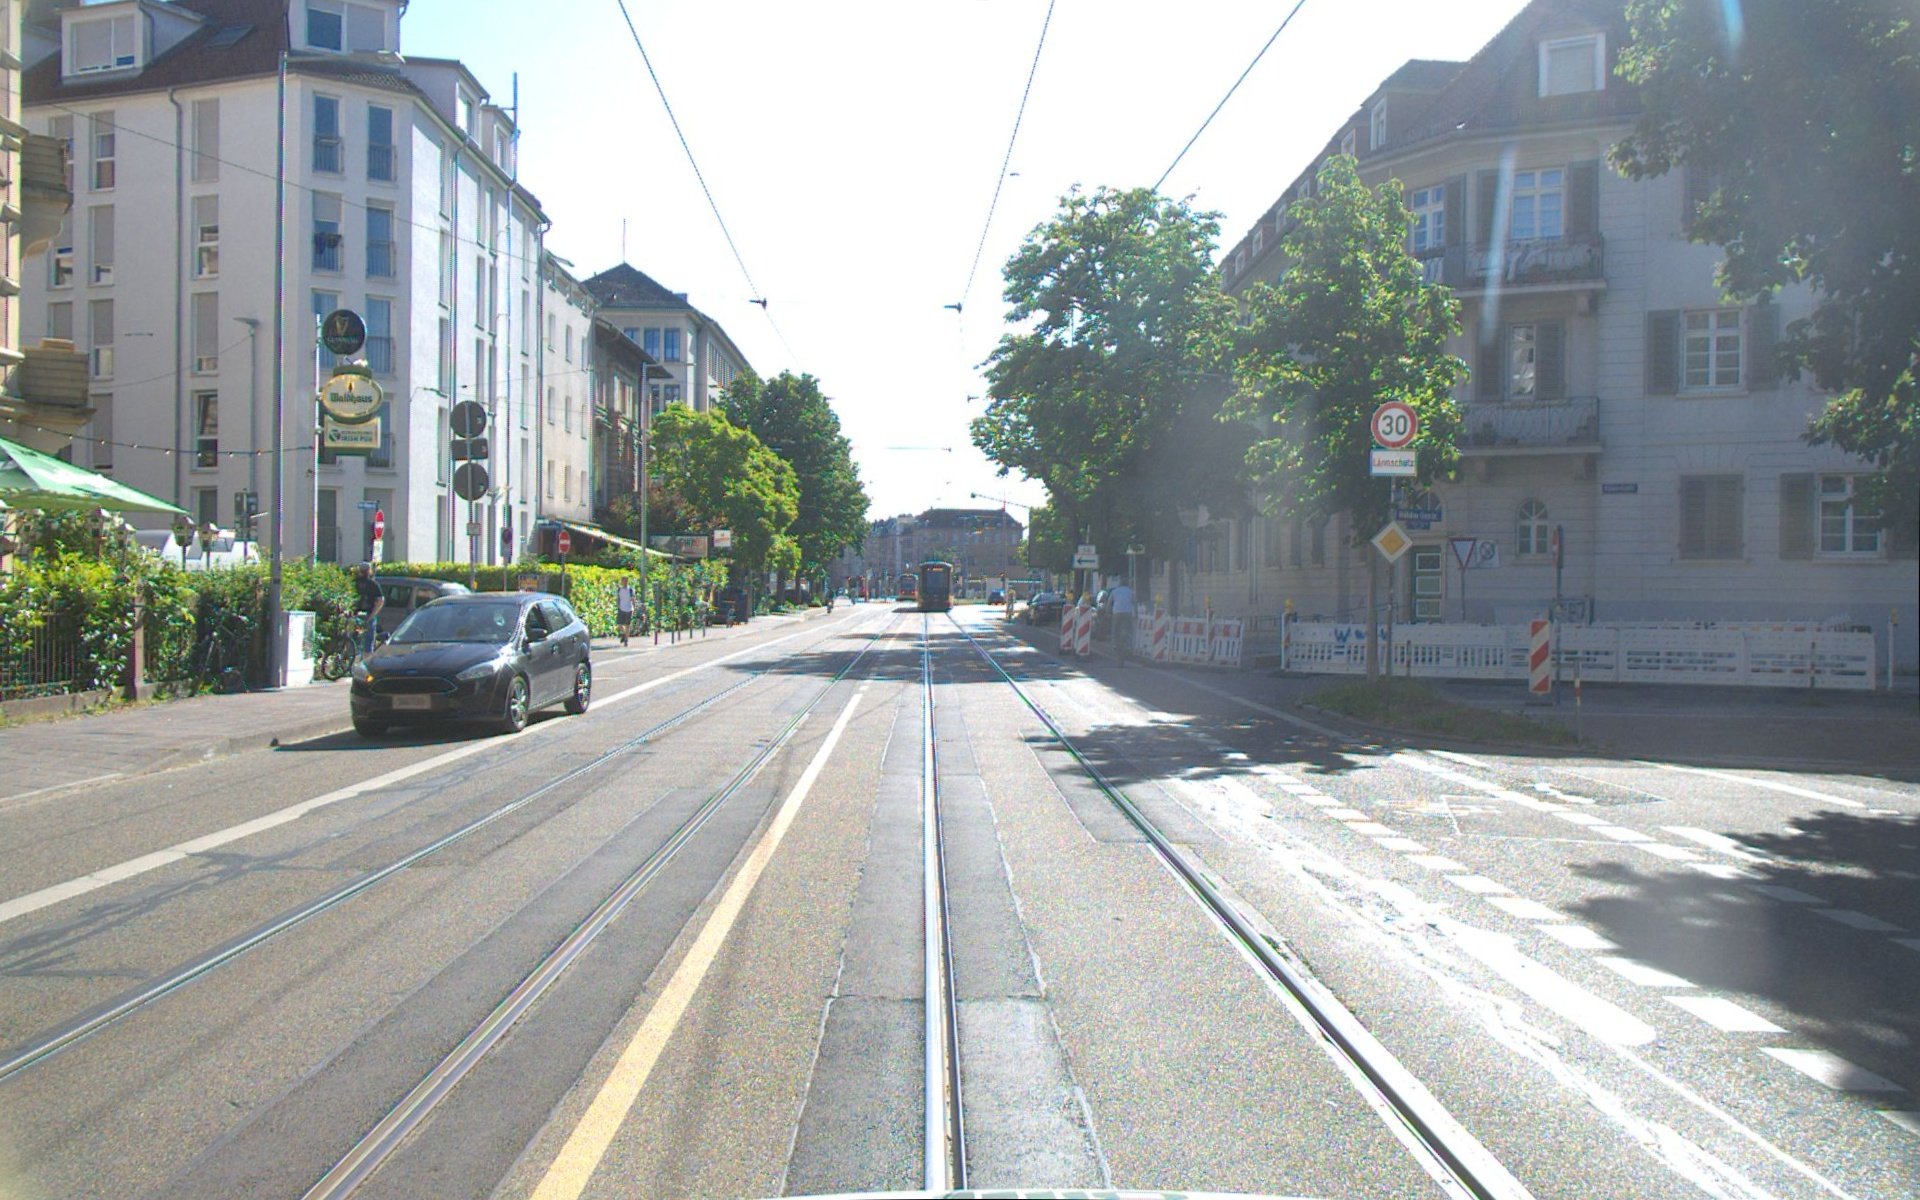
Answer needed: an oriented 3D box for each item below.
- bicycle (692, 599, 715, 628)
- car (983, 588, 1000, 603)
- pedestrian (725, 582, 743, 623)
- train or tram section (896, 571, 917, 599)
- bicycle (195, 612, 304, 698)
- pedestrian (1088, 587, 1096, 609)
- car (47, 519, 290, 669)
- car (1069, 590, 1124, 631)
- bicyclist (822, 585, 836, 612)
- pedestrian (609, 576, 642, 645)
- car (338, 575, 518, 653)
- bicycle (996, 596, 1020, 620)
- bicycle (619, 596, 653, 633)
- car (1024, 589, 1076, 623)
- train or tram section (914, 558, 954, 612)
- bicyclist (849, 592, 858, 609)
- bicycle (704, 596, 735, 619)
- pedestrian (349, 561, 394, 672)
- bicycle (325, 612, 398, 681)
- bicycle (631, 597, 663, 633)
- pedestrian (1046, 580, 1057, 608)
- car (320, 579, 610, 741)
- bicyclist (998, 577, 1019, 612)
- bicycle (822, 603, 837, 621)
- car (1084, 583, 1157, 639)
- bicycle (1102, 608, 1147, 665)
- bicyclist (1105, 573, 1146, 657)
[{"bbox_3d":[-10.209,0.524,65.903,0.625,1.077,1.743,3,0,0],"label":"bicycle"},{"bbox_3d":[3.400,-0.494,177.914,1.751,1.632,3.714,2,1,3],"label":"car"},{"bbox_3d":[-10.444,0.112,76.504,0.563,1.863,0.690,0,0,18],"label":"pedestrian"},{"bbox_3d":[-7.174,-2.039,222.374,2.687,3.715,13.781,0,1,-2],"label":"train or tram section"},{"bbox_3d":[-9.379,0.703,21.919,0.503,1.056,2.222,0,0,-1],"label":"bicycle"},{"bbox_3d":[8.586,-0.153,107.849,0.507,1.429,0.765,0,0,2],"label":"pedestrian"},{"bbox_3d":[-16.334,-0.073,34.442,1.846,2.891,4.786,0,-1,15],"label":"car"},{"bbox_3d":[4.959,0.364,60.505,1.688,1.406,4.356,-1,0,0],"label":"car"},{"bbox_3d":[-8.353,-0.089,105.140,0.730,1.627,1.118,-3,0,0],"label":"bicyclist"},{"bbox_3d":[-8.801,0.279,43.530,0.677,1.799,0.866,0,0,-1],"label":"pedestrian"},{"bbox_3d":[-13.106,0.356,40.797,3.957,1.839,1.792,0,-1,20],"label":"car"},{"bbox_3d":[2.370,0.401,82.002,0.690,1.124,1.718,2,1,18],"label":"bicycle"},{"bbox_3d":[-10.084,0.447,51.526,0.648,1.108,1.840,3,-1,-1],"label":"bicycle"},{"bbox_3d":[4.151,0.271,77.051,1.786,1.484,4.814,-1,0,-5],"label":"car"},{"bbox_3d":[-2.015,-1.127,121.883,2.687,3.715,13.781,0,1,-2],"label":"train or tram section"},{"bbox_3d":[-10.665,0.015,165.786,0.672,1.673,1.238,-2,0,3],"label":"bicyclist"},{"bbox_3d":[-11.142,0.341,76.696,0.623,1.064,2.023,1,0,15],"label":"bicycle"},{"bbox_3d":[-9.692,0.273,27.251,0.546,1.813,0.538,0,0,-5],"label":"pedestrian"},{"bbox_3d":[-9.307,0.706,25.794,0.516,0.998,1.777,0,0,-1],"label":"bicycle"},{"bbox_3d":[-10.138,0.482,53.560,0.648,1.108,1.840,3,-1,-1],"label":"bicycle"},{"bbox_3d":[6.181,-0.434,111.875,0.670,1.882,0.955,-1,0,-2],"label":"pedestrian"},{"bbox_3d":[-5.534,0.596,19.161,1.826,1.604,4.590,-2,0,2],"label":"car"},{"bbox_3d":[2.391,-0.282,81.994,0.690,1.704,1.102,2,1,18],"label":"bicyclist"},{"bbox_3d":[-8.301,0.735,105.134,0.730,1.100,1.899,-3,0,0],"label":"bicycle"},{"bbox_3d":[5.062,0.317,52.711,1.774,1.654,4.583,-2,0,-1],"label":"car"},{"bbox_3d":[3.419,0.743,34.437,0.723,1.113,2.111,2,0,1],"label":"bicycle"},{"bbox_3d":[3.432,0.306,34.424,0.723,1.715,0.972,2,0,1],"label":"bicyclist"}]
